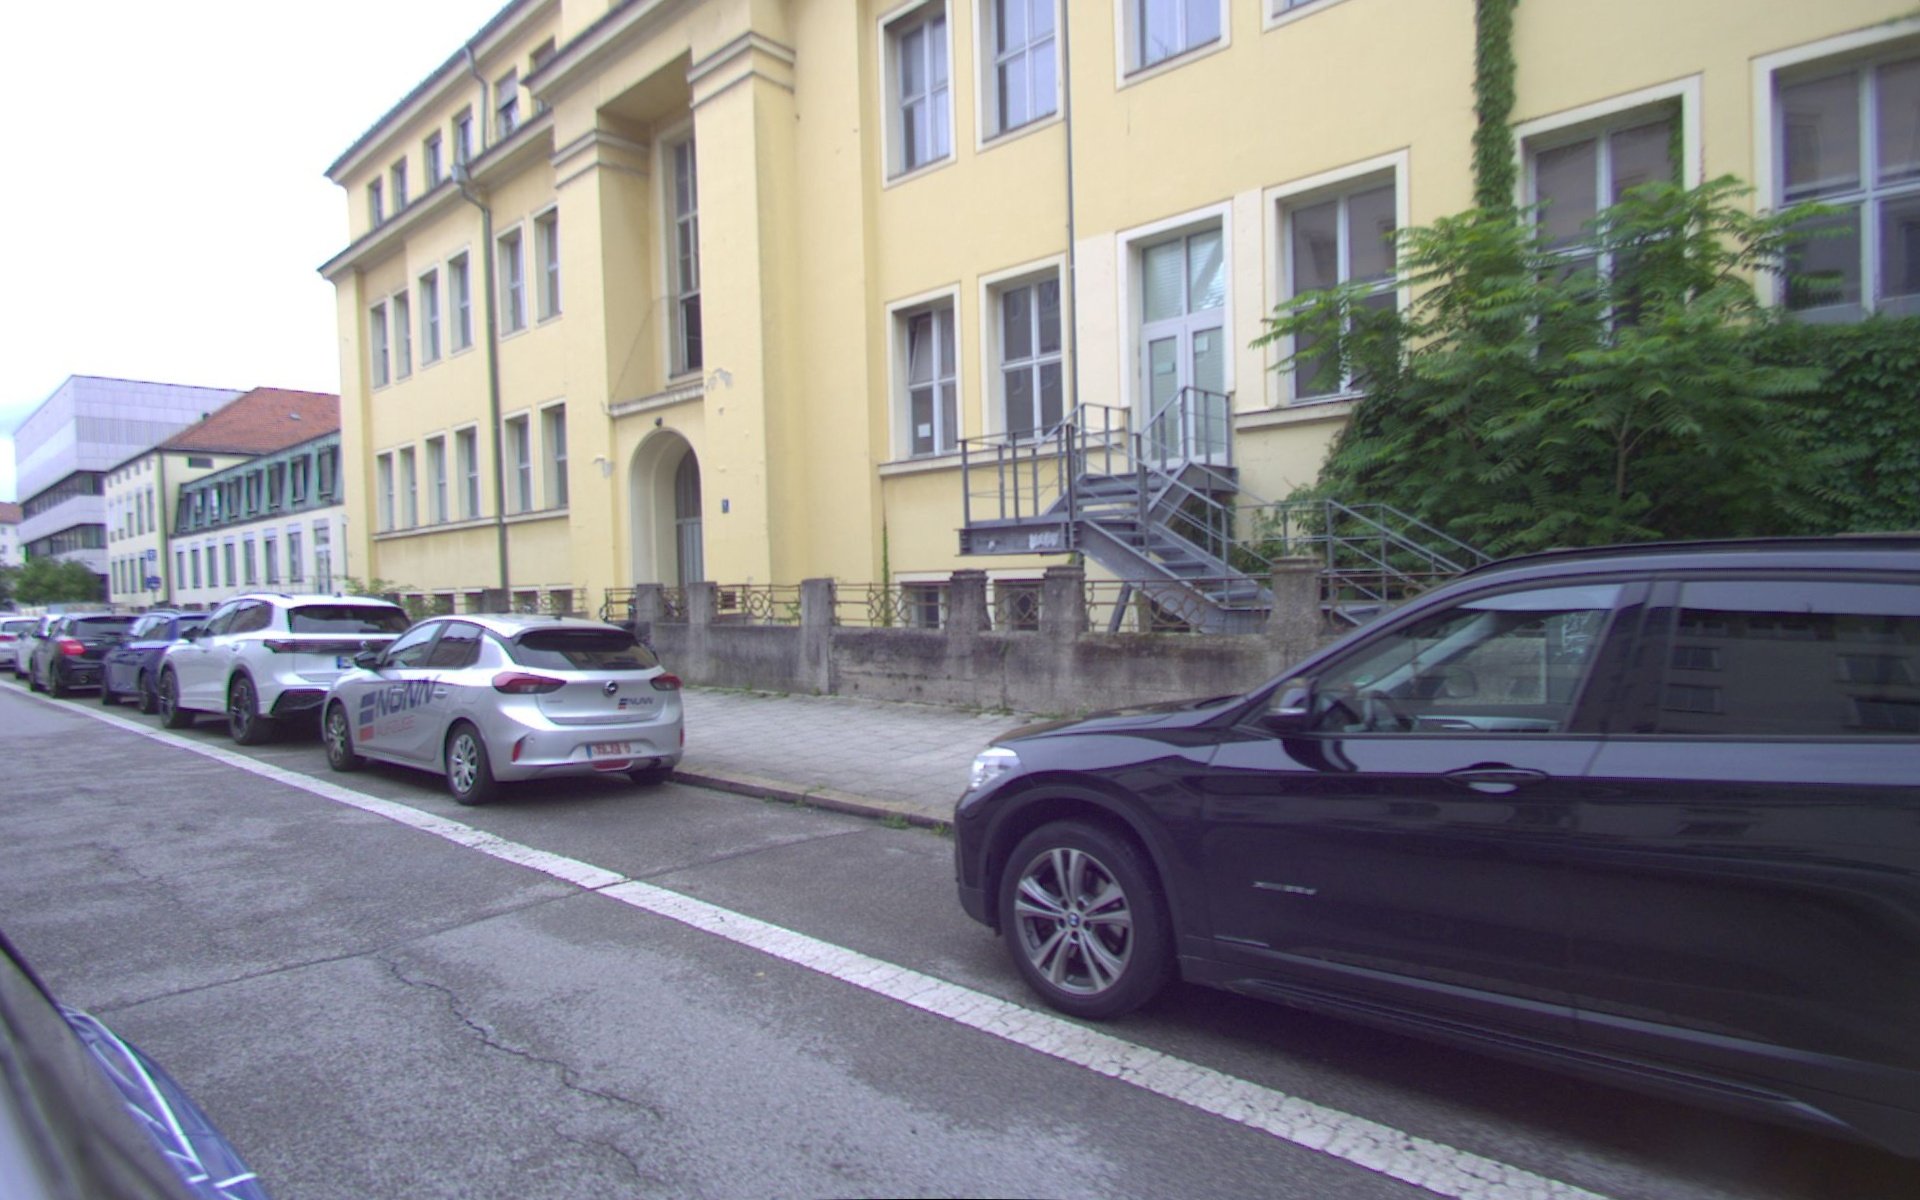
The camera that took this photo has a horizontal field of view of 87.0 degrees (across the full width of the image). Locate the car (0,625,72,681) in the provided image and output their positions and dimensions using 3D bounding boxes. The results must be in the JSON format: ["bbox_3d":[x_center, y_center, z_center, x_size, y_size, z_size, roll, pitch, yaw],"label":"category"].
[{"bbox_3d":[-25.436,1.378,27.214,3.992,1.408,1.658,-1,-2,39],"label":"car"}]

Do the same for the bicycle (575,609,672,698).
[{"bbox_3d":[-4.958,0.765,14.871,1.561,1.197,0.571,-1,4,42],"label":"bicycle"}]

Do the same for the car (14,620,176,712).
[{"bbox_3d":[-15.983,1.130,18.642,3.983,1.507,1.662,-1,-2,41],"label":"car"}]

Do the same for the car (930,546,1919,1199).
[{"bbox_3d":[2.060,0.699,3.192,4.191,1.550,1.764,-1,-3,39],"label":"car"}]

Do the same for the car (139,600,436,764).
[{"bbox_3d":[-8.187,0.893,12.170,4.351,1.646,1.664,-1,-3,38],"label":"car"}]

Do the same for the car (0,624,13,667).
[{"bbox_3d":[-33.364,1.515,33.930,3.984,1.415,1.659,-1,-2,37],"label":"car"}]

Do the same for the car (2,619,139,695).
[{"bbox_3d":[-19.837,1.227,22.513,4.084,1.539,1.705,-1,-3,41],"label":"car"}]

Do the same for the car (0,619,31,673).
[{"bbox_3d":[-29.724,1.372,30.705,3.992,1.578,1.658,-1,-2,39],"label":"car"}]

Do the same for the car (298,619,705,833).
[{"bbox_3d":[-4.069,0.914,8.726,3.892,1.437,1.663,-1,-3,40],"label":"car"}]

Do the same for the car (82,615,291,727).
[{"bbox_3d":[-11.995,1.009,15.613,3.969,1.516,1.663,-1,-2,39],"label":"car"}]
